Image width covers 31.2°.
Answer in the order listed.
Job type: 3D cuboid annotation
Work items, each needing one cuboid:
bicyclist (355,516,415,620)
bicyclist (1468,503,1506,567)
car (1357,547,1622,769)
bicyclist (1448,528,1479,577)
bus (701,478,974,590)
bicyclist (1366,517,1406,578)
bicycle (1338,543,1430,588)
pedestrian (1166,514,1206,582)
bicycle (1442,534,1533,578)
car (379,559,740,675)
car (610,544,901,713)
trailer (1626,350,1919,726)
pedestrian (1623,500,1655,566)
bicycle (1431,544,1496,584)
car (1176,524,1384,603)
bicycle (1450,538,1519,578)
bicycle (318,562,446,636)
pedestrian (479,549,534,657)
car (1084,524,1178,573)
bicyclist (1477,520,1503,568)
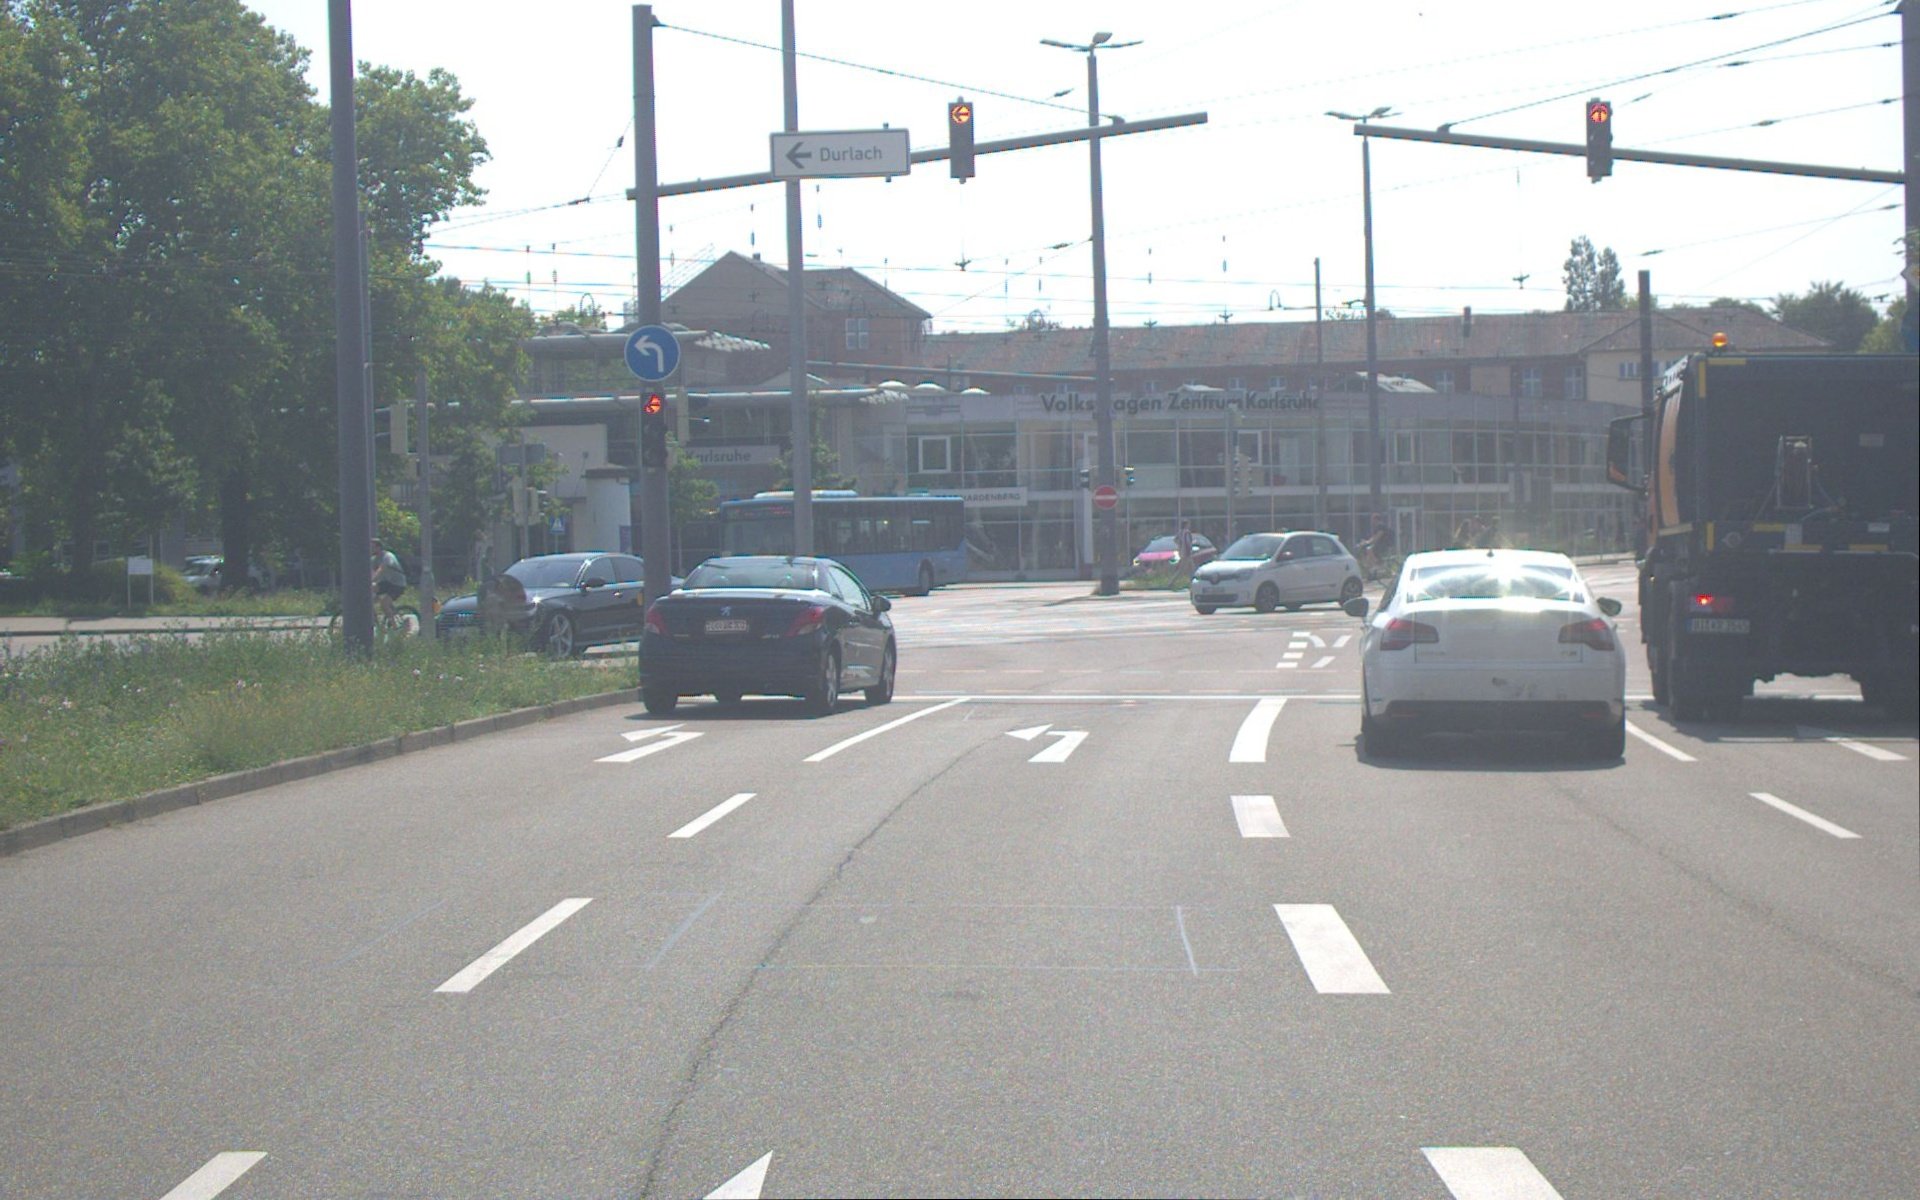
[{"bbox_3d":[-9.284,-0.519,55.497,0.692,1.644,0.618,0,2,41],"label":"bicyclist"},{"bbox_3d":[13.660,-1.684,89.085,0.761,1.628,0.763,-1,1,-9],"label":"bicyclist"},{"bbox_3d":[3.820,0.359,25.372,1.758,1.450,4.425,0,1,7],"label":"car"},{"bbox_3d":[12.743,-1.198,86.999,0.594,1.243,0.507,-1,1,-24],"label":"bicyclist"},{"bbox_3d":[-3.271,-1.909,97.129,3.057,2.921,11.839,-1,1,22],"label":"bus"},{"bbox_3d":[10.858,-1.333,87.646,0.797,1.536,0.763,-1,1,-13],"label":"bicyclist"},{"bbox_3d":[10.813,-0.886,87.654,2.196,1.084,0.763,-1,1,-13],"label":"bicycle"},{"bbox_3d":[5.817,-1.338,88.454,0.784,1.746,0.808,-1,1,21],"label":"pedestrian"},{"bbox_3d":[13.667,-1.150,89.095,2.196,1.084,0.763,-1,1,-9],"label":"bicycle"},{"bbox_3d":[-5.447,0.209,47.073,4.551,1.433,1.999,-2,1,-41],"label":"car"},{"bbox_3d":[-1.772,0.208,31.145,1.758,1.399,3.979,0,1,10],"label":"car"},{"bbox_3d":[7.419,-0.570,30.603,2.463,2.997,6.324,1,1,7],"label":"trailer"},{"bbox_3d":[18.133,-1.792,91.858,0.622,1.746,0.628,-1,1,-10],"label":"pedestrian"},{"bbox_3d":[12.739,-0.907,86.993,1.590,0.981,0.507,-1,1,-24],"label":"bicycle"},{"bbox_3d":[6.154,-0.714,65.859,1.775,1.420,4.056,0,1,44],"label":"car"},{"bbox_3d":[13.001,-1.041,85.250,1.592,0.981,0.506,-1,1,22],"label":"bicycle"},{"bbox_3d":[-9.314,-0.021,55.466,0.698,1.133,2.039,-1,1,40],"label":"bicycle"},{"bbox_3d":[-5.483,0.027,41.574,0.595,1.264,0.505,-2,3,-12],"label":"pedestrian"},{"bbox_3d":[5.177,-1.566,103.802,1.730,1.415,3.836,-1,1,20],"label":"car"},{"bbox_3d":[13.131,-1.388,85.189,0.504,1.184,0.506,-1,1,22],"label":"bicyclist"}]
